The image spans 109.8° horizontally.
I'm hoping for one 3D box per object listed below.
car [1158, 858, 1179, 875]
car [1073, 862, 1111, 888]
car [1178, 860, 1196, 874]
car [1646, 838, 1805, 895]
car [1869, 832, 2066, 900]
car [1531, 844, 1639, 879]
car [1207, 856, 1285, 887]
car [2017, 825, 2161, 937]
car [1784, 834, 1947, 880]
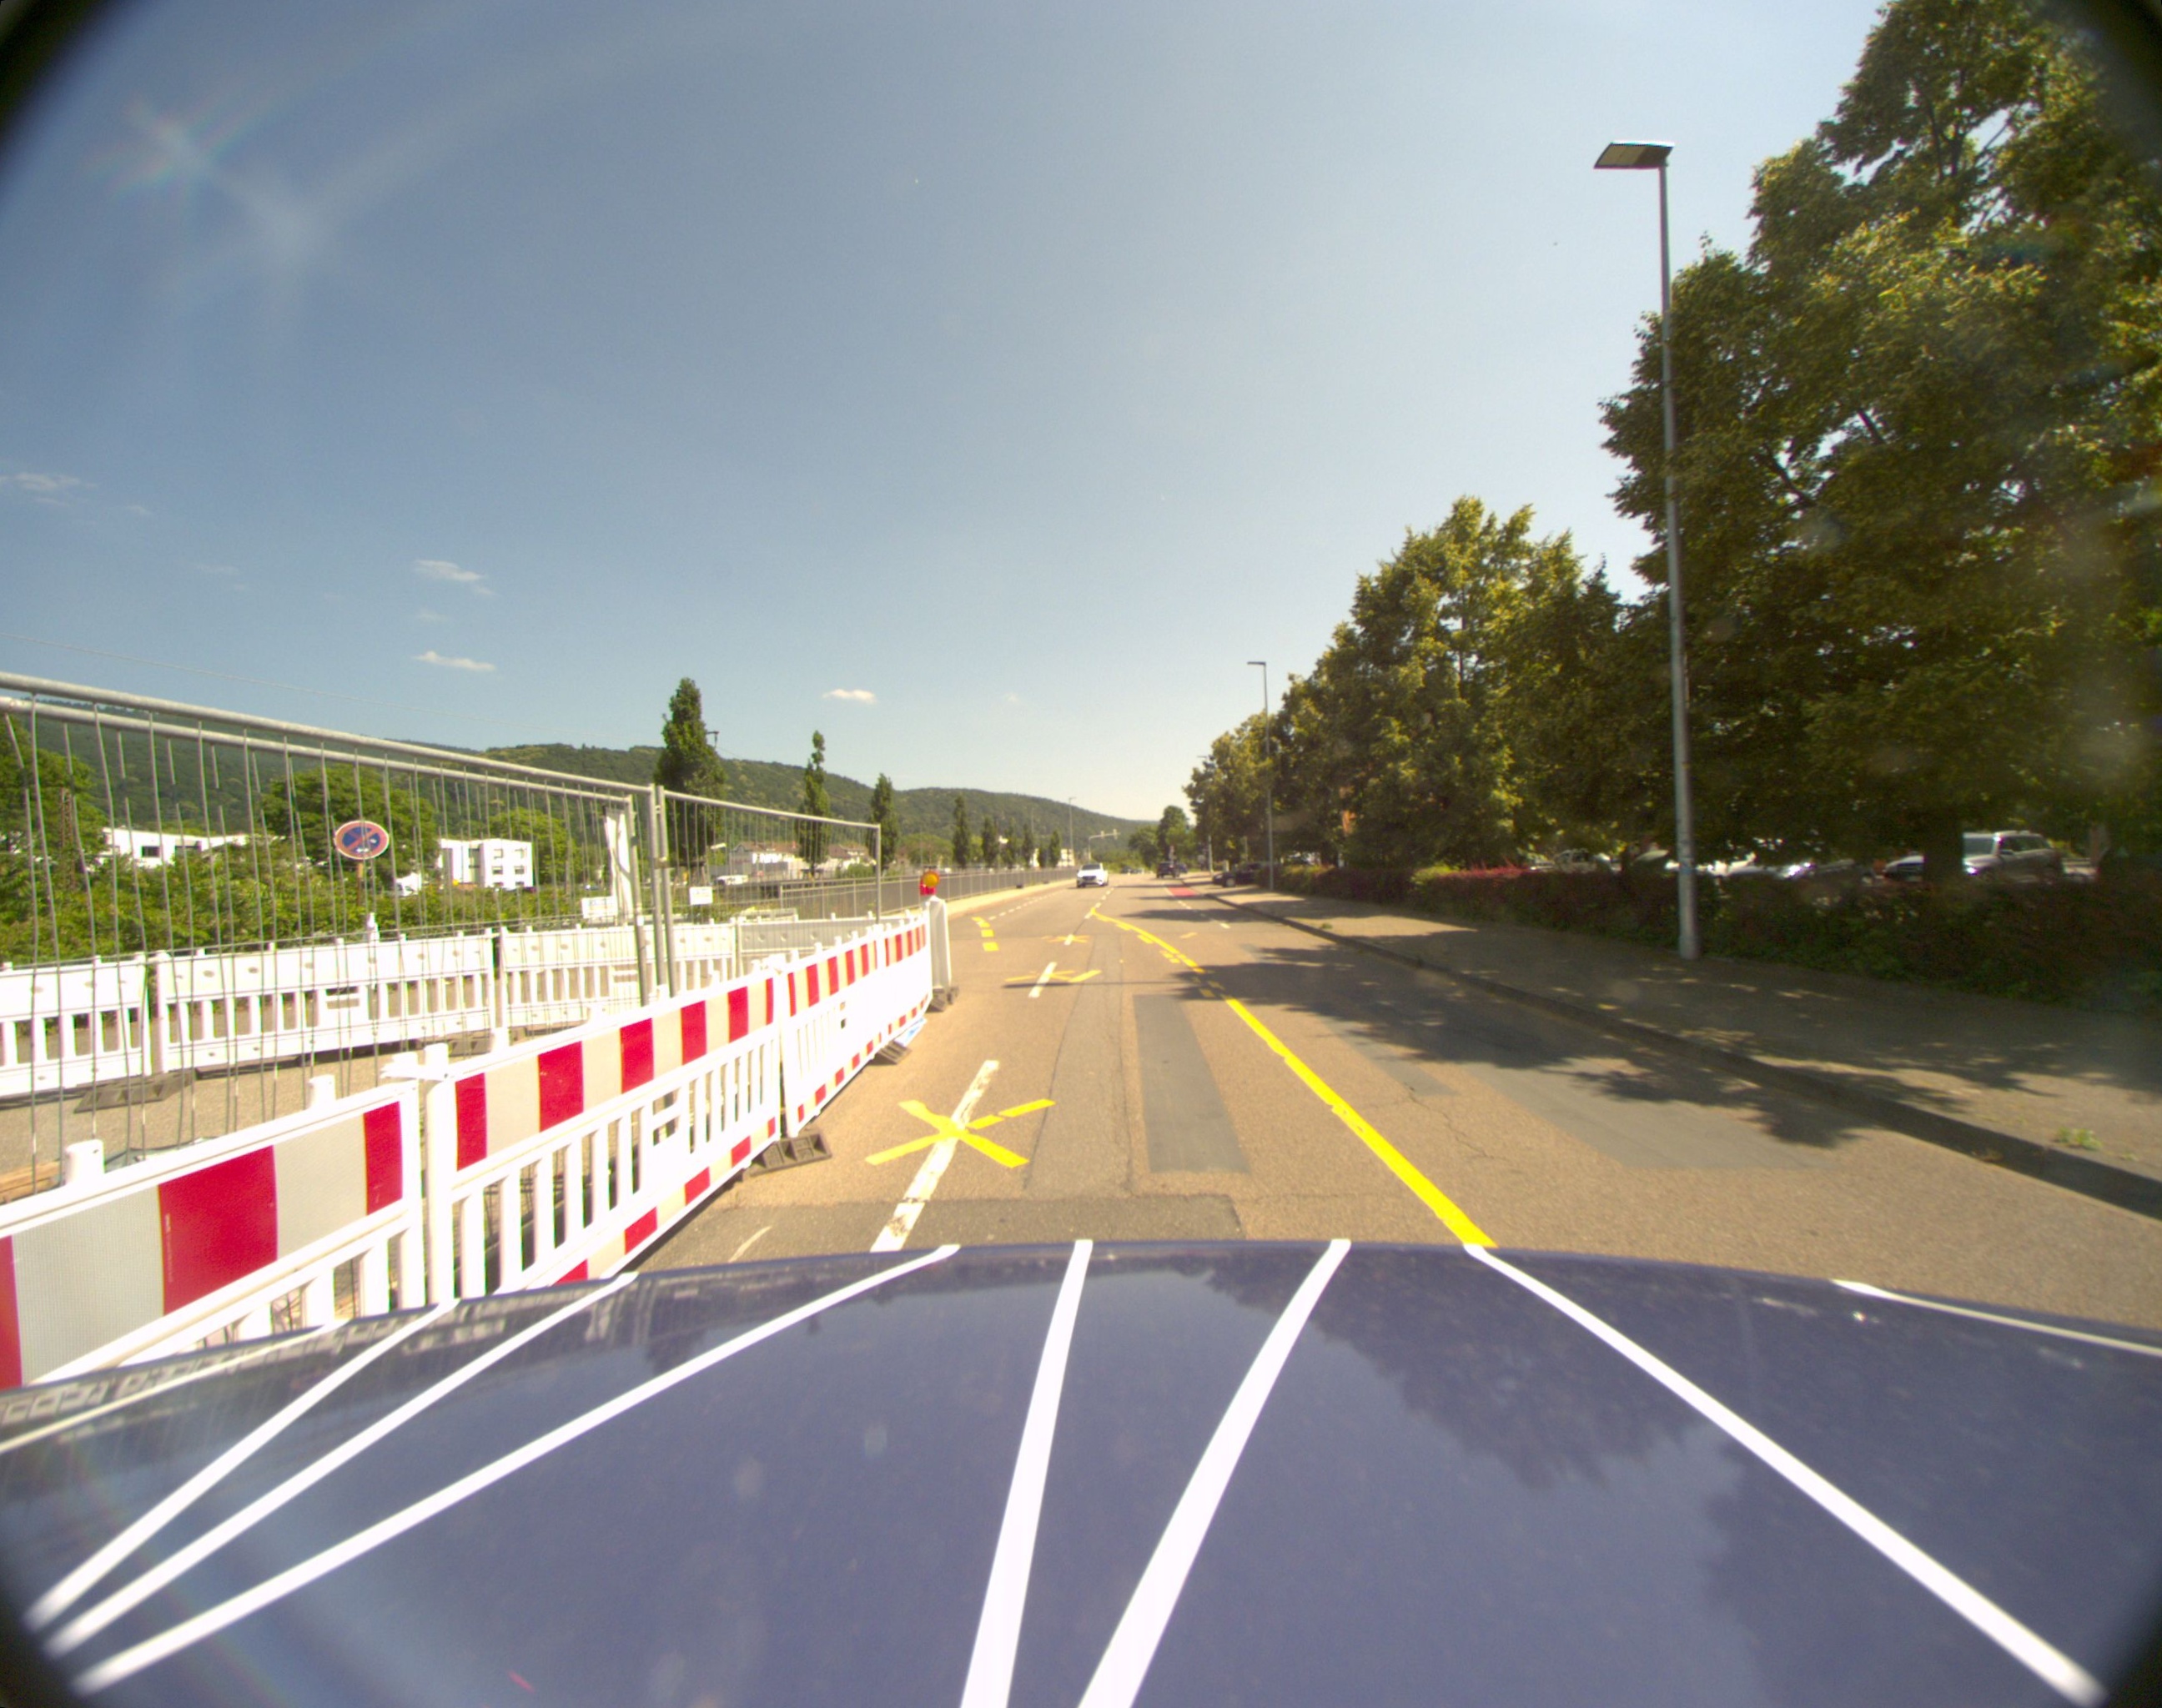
[{"bbox_3d":[8.927,1.280,77.088,1.997,1.635,4.531,-1,0,8],"label":"car"},{"bbox_3d":[0.839,1.409,53.286,1.997,1.635,5.035,-2,0,8],"label":"car"},{"bbox_3d":[13.326,1.616,95.859,1.998,1.635,4.529,-1,0,4],"label":"car"},{"bbox_3d":[21.312,0.396,25.170,4.314,1.676,1.860,-2,0,-15],"label":"car"},{"bbox_3d":[24.392,0.306,20.939,4.369,1.676,1.860,-2,0,-16],"label":"car"},{"bbox_3d":[24.387,0.389,36.937,1.922,1.543,4.137,-2,0,-14],"label":"car"},{"bbox_3d":[9.234,0.967,42.783,3.995,1.455,1.881,-4,0,6],"label":"car"},{"bbox_3d":[17.104,0.397,10.942,1.861,1.676,4.367,0,0,-1],"label":"car"},{"bbox_3d":[32.736,0.148,31.903,1.863,1.676,4.363,-4,0,-12],"label":"car"}]
